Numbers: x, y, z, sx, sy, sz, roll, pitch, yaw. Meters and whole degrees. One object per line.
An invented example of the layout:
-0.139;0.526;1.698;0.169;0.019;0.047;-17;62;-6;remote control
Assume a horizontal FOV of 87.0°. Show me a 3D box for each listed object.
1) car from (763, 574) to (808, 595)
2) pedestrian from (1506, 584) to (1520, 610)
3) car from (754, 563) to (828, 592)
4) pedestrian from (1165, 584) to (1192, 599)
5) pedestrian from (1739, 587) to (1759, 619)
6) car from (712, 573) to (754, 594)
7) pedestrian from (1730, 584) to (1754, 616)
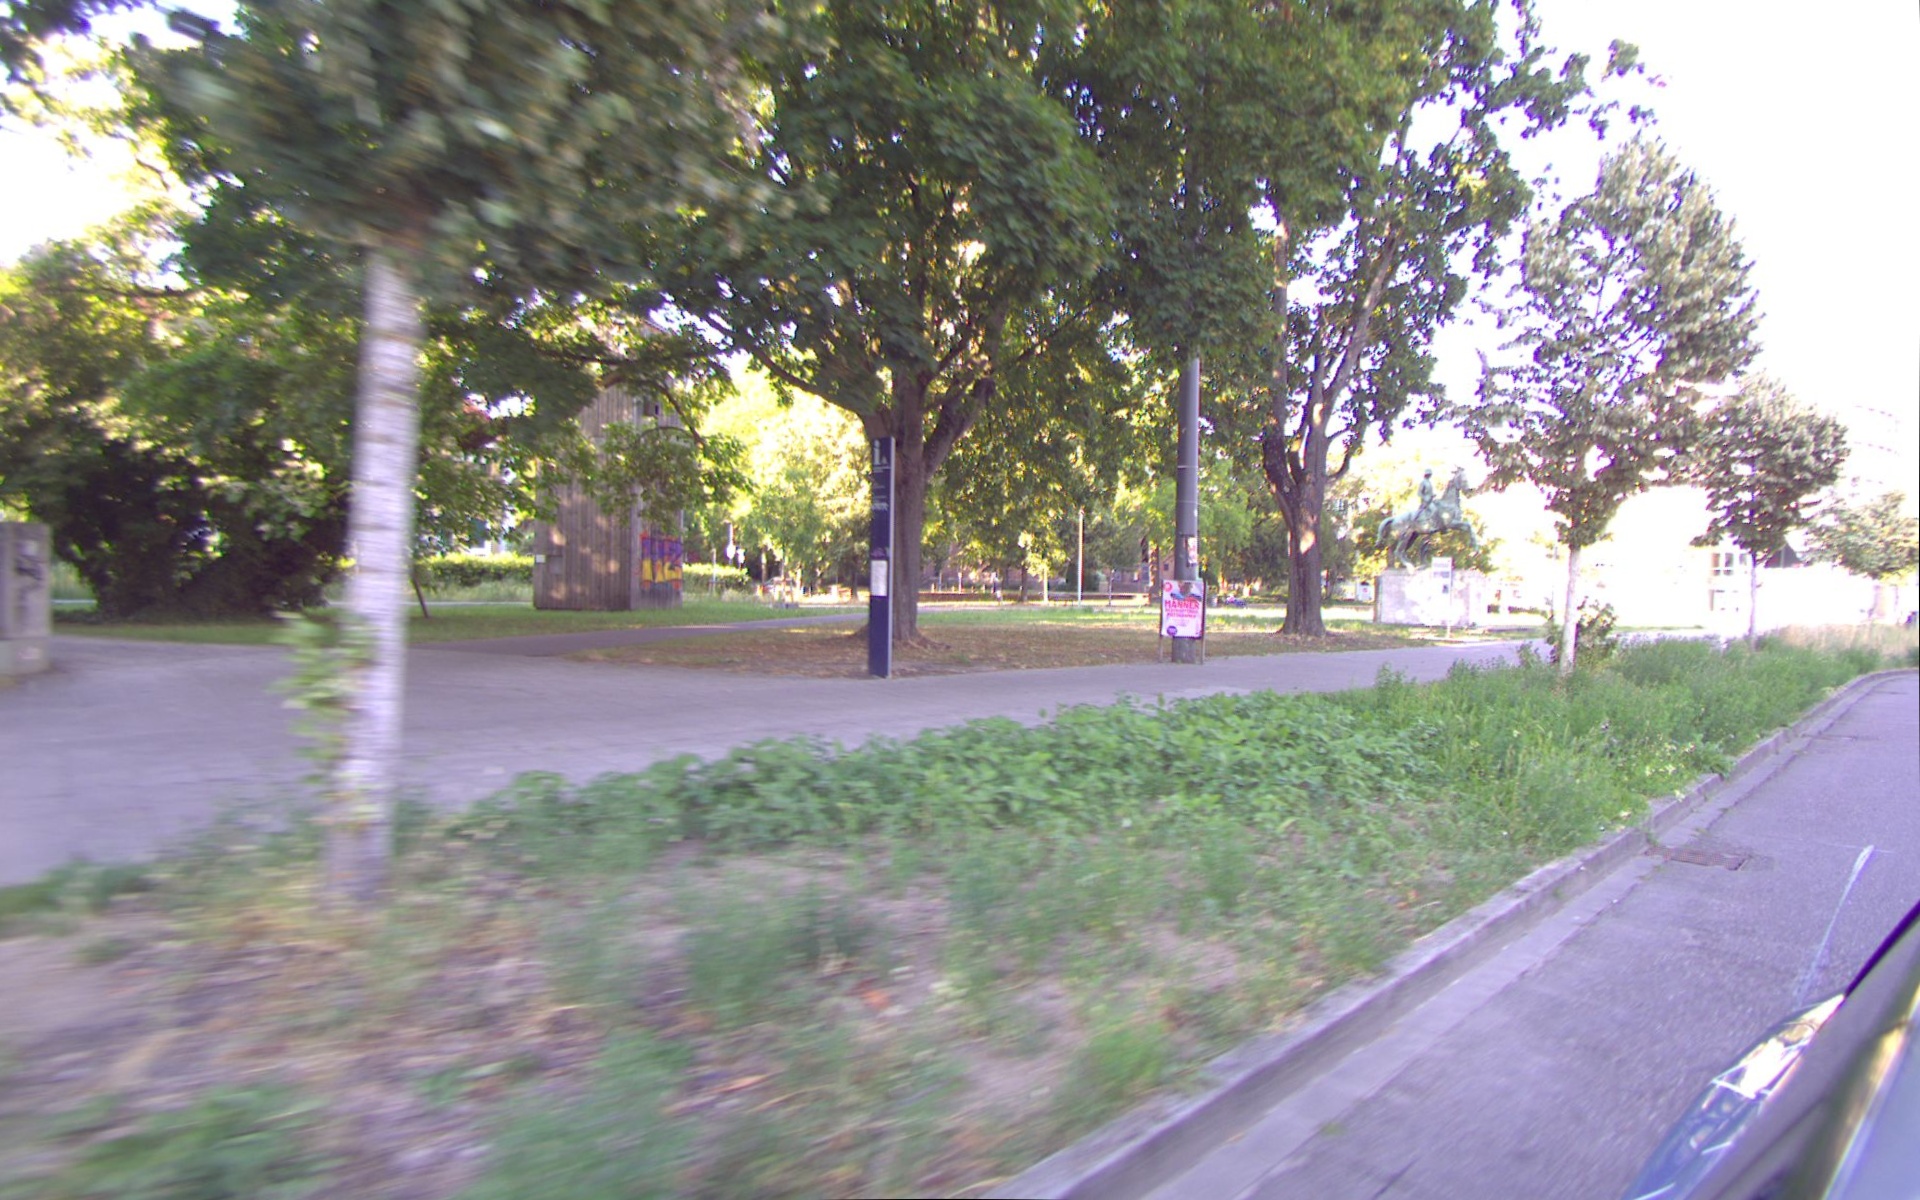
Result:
-13.177;-1.154;76.324;1.569;1.529;4.154;0;0;-39;car
37.236;-0.214;68.150;0.633;1.761;0.594;1;0;14;pedestrian
-10.890;-1.443;65.460;1.991;1.739;4.571;3;2;40;car
15.472;-0.590;71.715;1.259;1.006;1.384;1;1;-32;pedestrian
43.688;0.160;56.033;0.767;1.709;0.599;1;2;-39;pedestrian
-18.008;-1.323;80.179;1.600;1.529;4.154;1;1;-39;car
42.817;0.010;55.410;0.899;1.670;0.741;1;3;-39;pedestrian
